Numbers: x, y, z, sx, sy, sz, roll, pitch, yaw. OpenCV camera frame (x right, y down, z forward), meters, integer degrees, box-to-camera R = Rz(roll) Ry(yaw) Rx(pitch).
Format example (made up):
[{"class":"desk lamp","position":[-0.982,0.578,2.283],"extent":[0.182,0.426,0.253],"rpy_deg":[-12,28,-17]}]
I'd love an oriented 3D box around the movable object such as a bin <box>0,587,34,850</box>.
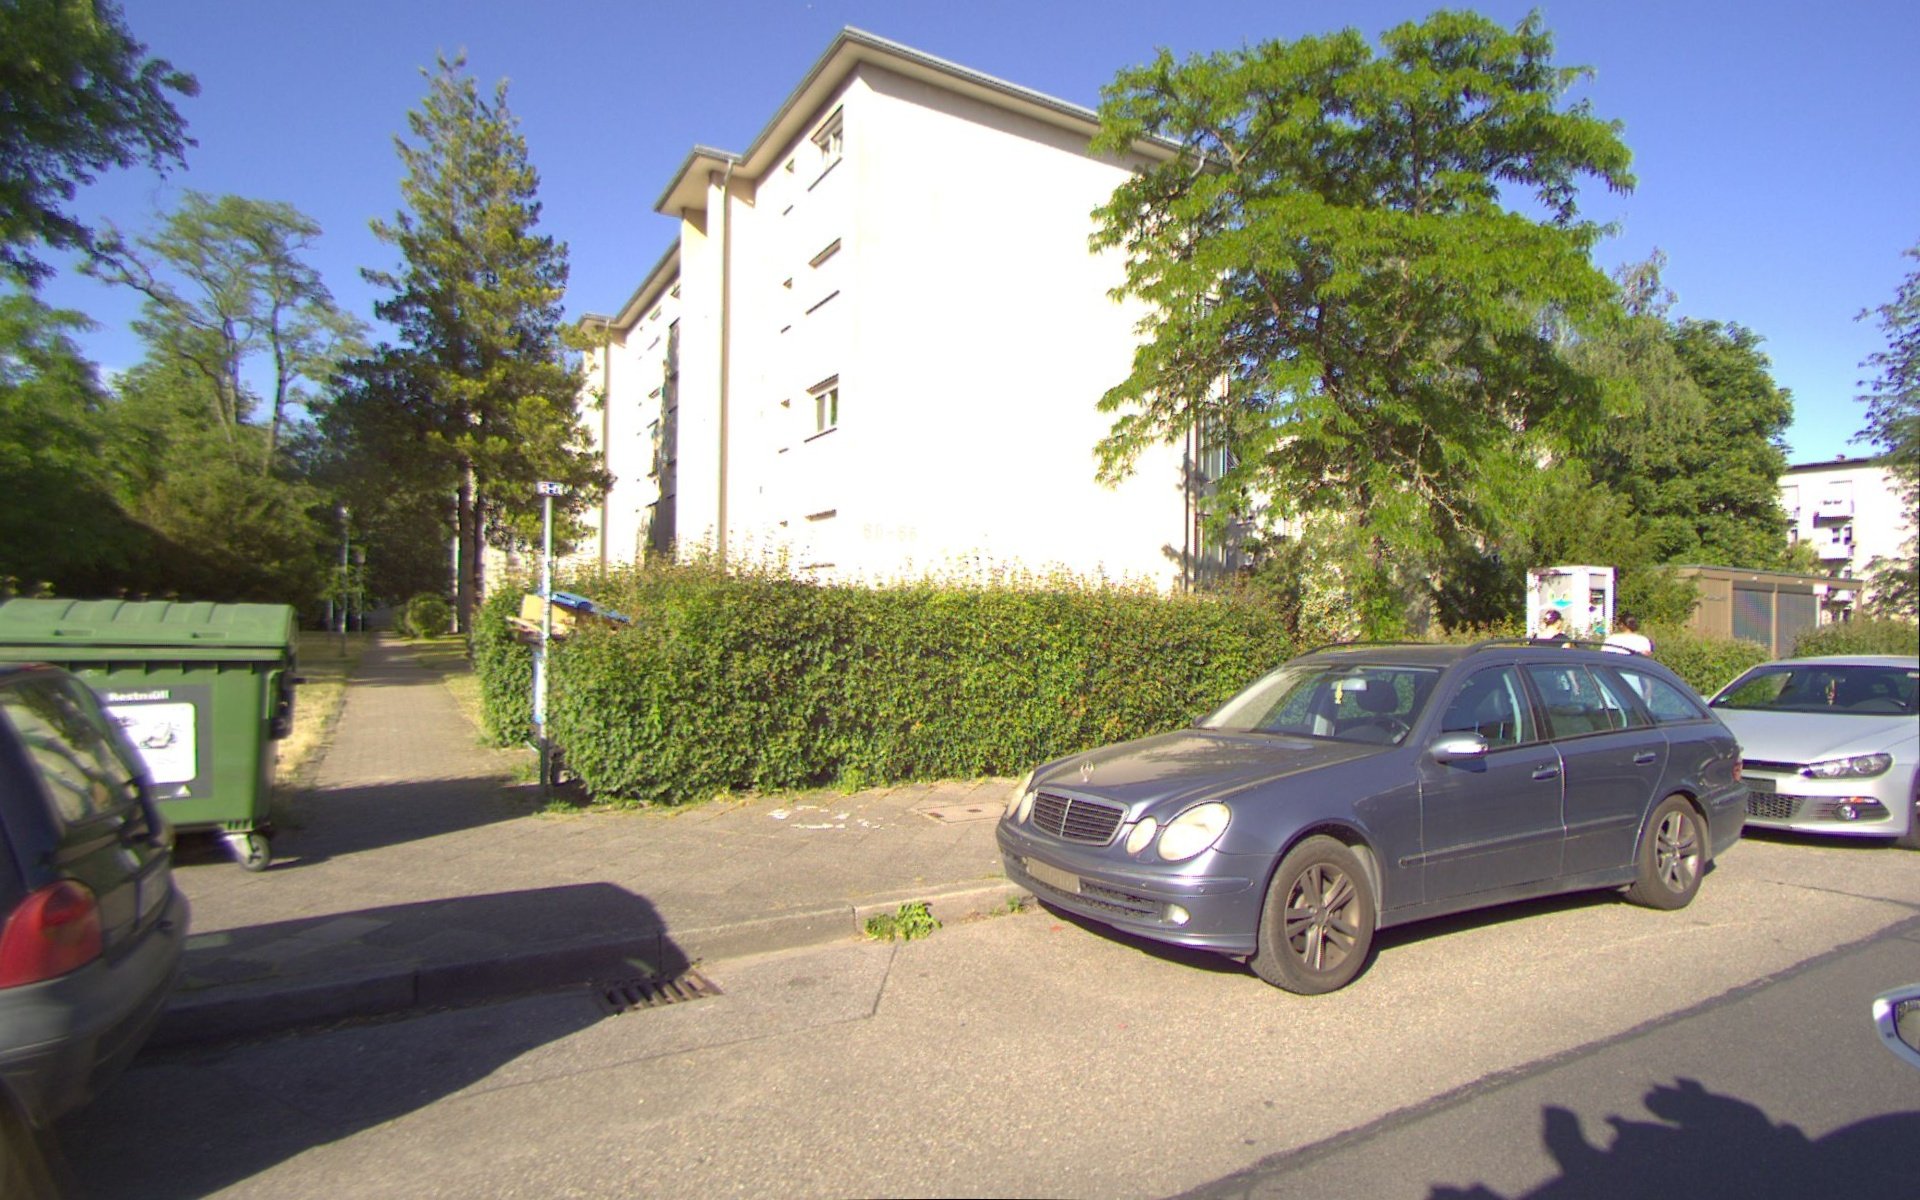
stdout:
[{"class":"movable object such as a bin","position":[-5.632,0.625,5.031],"extent":[1.243,1.384,1.113],"rpy_deg":[2,1,-32]}]

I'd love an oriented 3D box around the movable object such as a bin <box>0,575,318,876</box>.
[{"class":"movable object such as a bin","position":[-4.372,0.614,5.576],"extent":[1.312,1.434,0.996],"rpy_deg":[2,1,-32]}]

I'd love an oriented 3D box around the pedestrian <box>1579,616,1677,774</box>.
[{"class":"pedestrian","position":[7.494,1.035,11.272],"extent":[0.609,1.701,0.717],"rpy_deg":[1,-1,-30]}]

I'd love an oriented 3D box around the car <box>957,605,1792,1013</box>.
[{"class":"car","position":[2.505,0.916,5.705],"extent":[4.841,1.509,1.747],"rpy_deg":[2,-5,-29]}]

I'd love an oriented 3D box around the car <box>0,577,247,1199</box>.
[{"class":"car","position":[-3.741,0.684,2.153],"extent":[3.457,1.483,1.640],"rpy_deg":[2,-3,-32]}]

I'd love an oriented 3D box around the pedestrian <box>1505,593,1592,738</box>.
[{"class":"pedestrian","position":[7.180,0.780,12.262],"extent":[0.593,1.701,0.717],"rpy_deg":[1,-1,-30]}]

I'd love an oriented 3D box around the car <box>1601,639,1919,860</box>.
[{"class":"car","position":[7.446,1.098,8.391],"extent":[4.159,1.443,1.747],"rpy_deg":[2,-4,-29]}]

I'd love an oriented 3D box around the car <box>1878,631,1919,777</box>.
[{"class":"car","position":[13.024,1.211,12.069],"extent":[4.320,1.656,1.746],"rpy_deg":[2,-4,-31]}]
